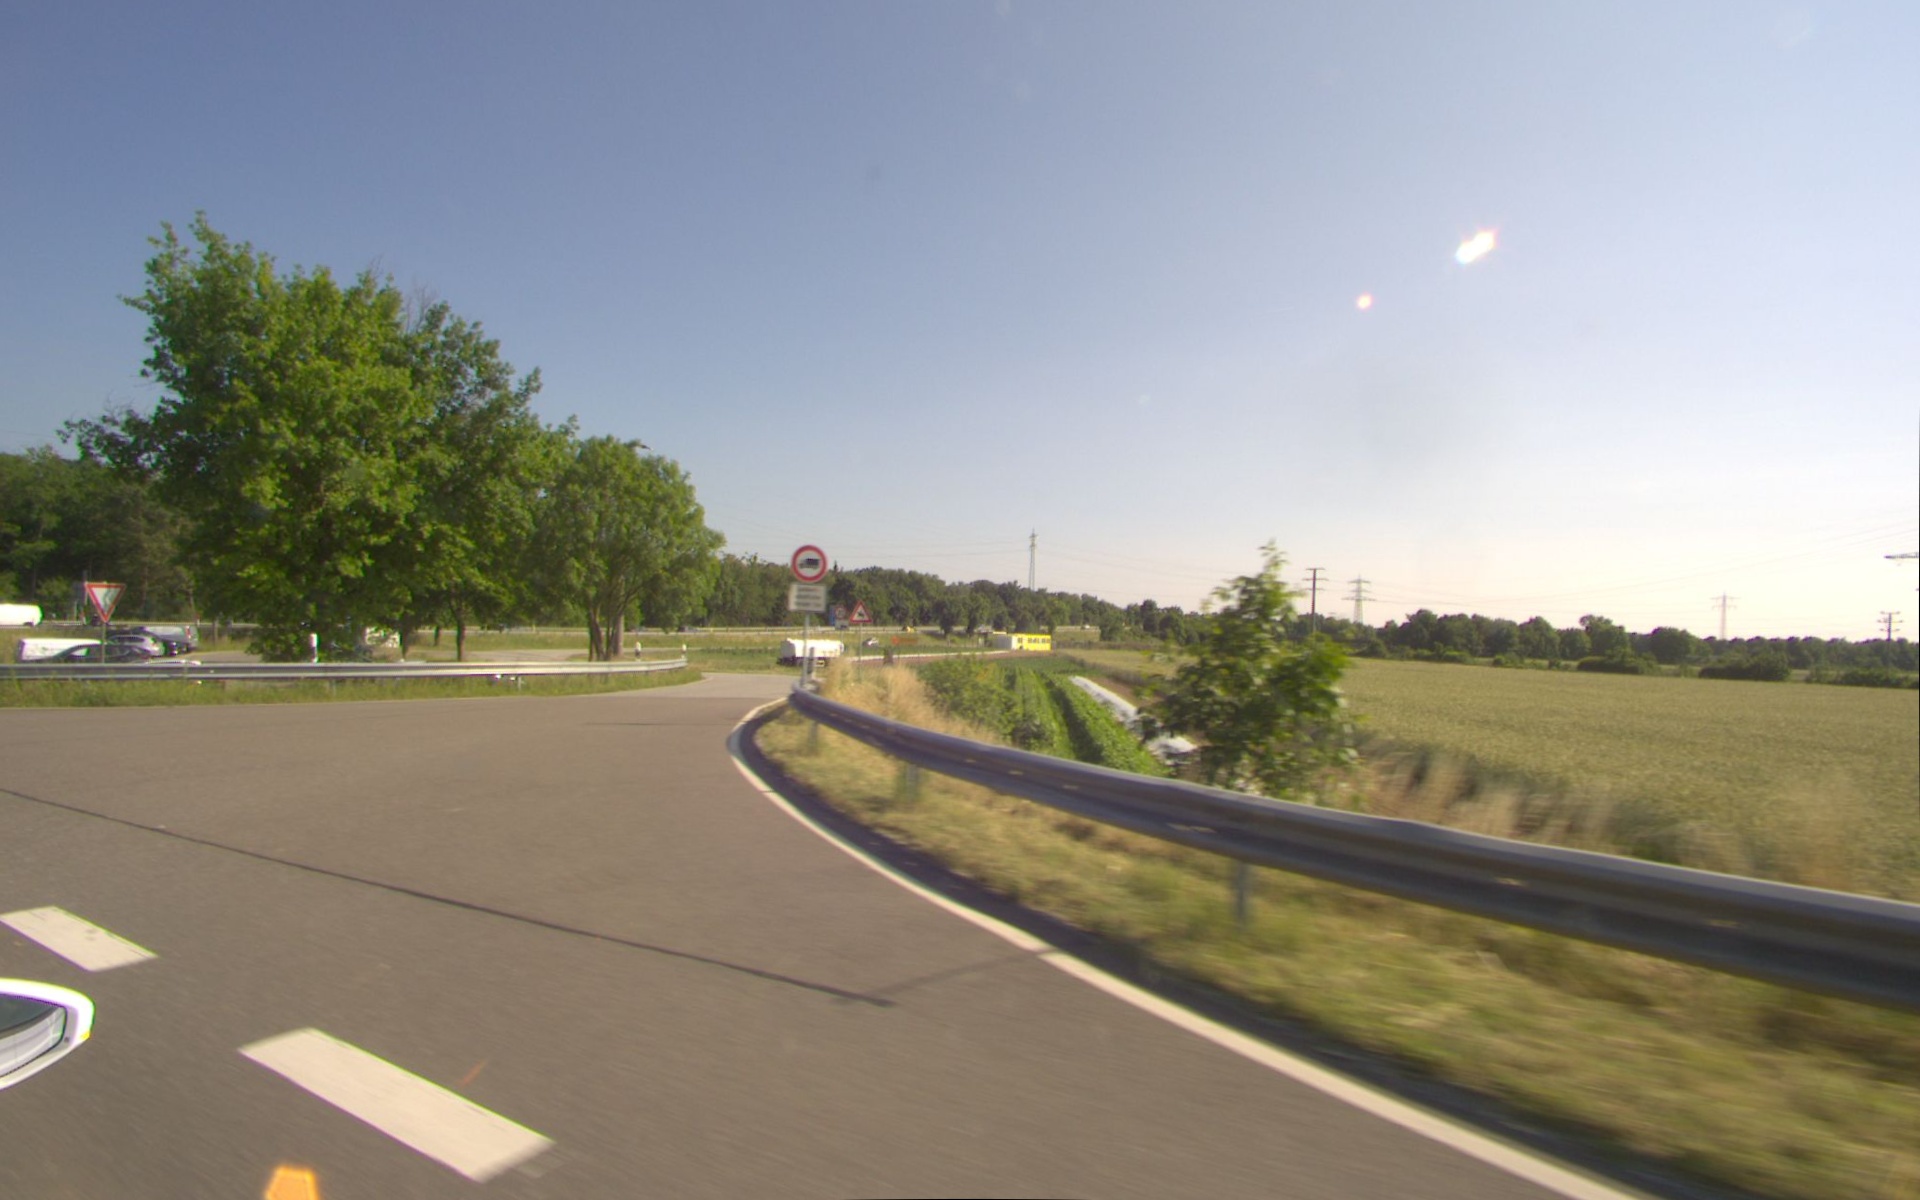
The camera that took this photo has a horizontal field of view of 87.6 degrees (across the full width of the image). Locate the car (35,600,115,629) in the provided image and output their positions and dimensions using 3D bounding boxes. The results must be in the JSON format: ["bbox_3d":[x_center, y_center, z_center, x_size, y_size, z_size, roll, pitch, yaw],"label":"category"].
[{"bbox_3d":[-64.207,1.064,72.721,1.771,2.040,3.988,1,-1,25],"label":"car"}]

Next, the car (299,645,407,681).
[{"bbox_3d":[-30.422,3.189,50.259,4.324,1.609,1.983,5,-3,-40],"label":"car"}]

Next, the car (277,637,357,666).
[{"bbox_3d":[-38.789,3.125,60.529,3.948,1.600,1.880,4,-3,-33],"label":"car"}]

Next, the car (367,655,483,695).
[{"bbox_3d":[-23.094,3.264,43.316,1.868,1.600,3.975,0,-4,38],"label":"car"}]

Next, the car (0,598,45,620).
[{"bbox_3d":[-70.966,0.671,73.786,1.967,1.572,4.882,0,0,24],"label":"car"}]

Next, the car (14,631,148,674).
[{"bbox_3d":[-39.410,2.386,44.964,1.880,1.806,4.334,0,-3,42],"label":"car"}]

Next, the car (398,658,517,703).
[{"bbox_3d":[-20.785,3.335,41.535,1.867,1.686,3.976,0,-4,38],"label":"car"}]

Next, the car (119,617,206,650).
[{"bbox_3d":[-51.794,2.190,65.131,3.934,1.900,1.887,4,-3,-20],"label":"car"}]

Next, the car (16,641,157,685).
[{"bbox_3d":[-37.321,2.641,42.839,1.880,1.689,4.390,1,0,42],"label":"car"}]

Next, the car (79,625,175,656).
[{"bbox_3d":[-49.353,2.418,59.410,3.940,1.639,1.884,4,-3,-26],"label":"car"}]

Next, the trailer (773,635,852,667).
[{"bbox_3d":[-13.454,4.673,91.711,6.744,2.704,2.864,4,-2,-44],"label":"trailer"}]
